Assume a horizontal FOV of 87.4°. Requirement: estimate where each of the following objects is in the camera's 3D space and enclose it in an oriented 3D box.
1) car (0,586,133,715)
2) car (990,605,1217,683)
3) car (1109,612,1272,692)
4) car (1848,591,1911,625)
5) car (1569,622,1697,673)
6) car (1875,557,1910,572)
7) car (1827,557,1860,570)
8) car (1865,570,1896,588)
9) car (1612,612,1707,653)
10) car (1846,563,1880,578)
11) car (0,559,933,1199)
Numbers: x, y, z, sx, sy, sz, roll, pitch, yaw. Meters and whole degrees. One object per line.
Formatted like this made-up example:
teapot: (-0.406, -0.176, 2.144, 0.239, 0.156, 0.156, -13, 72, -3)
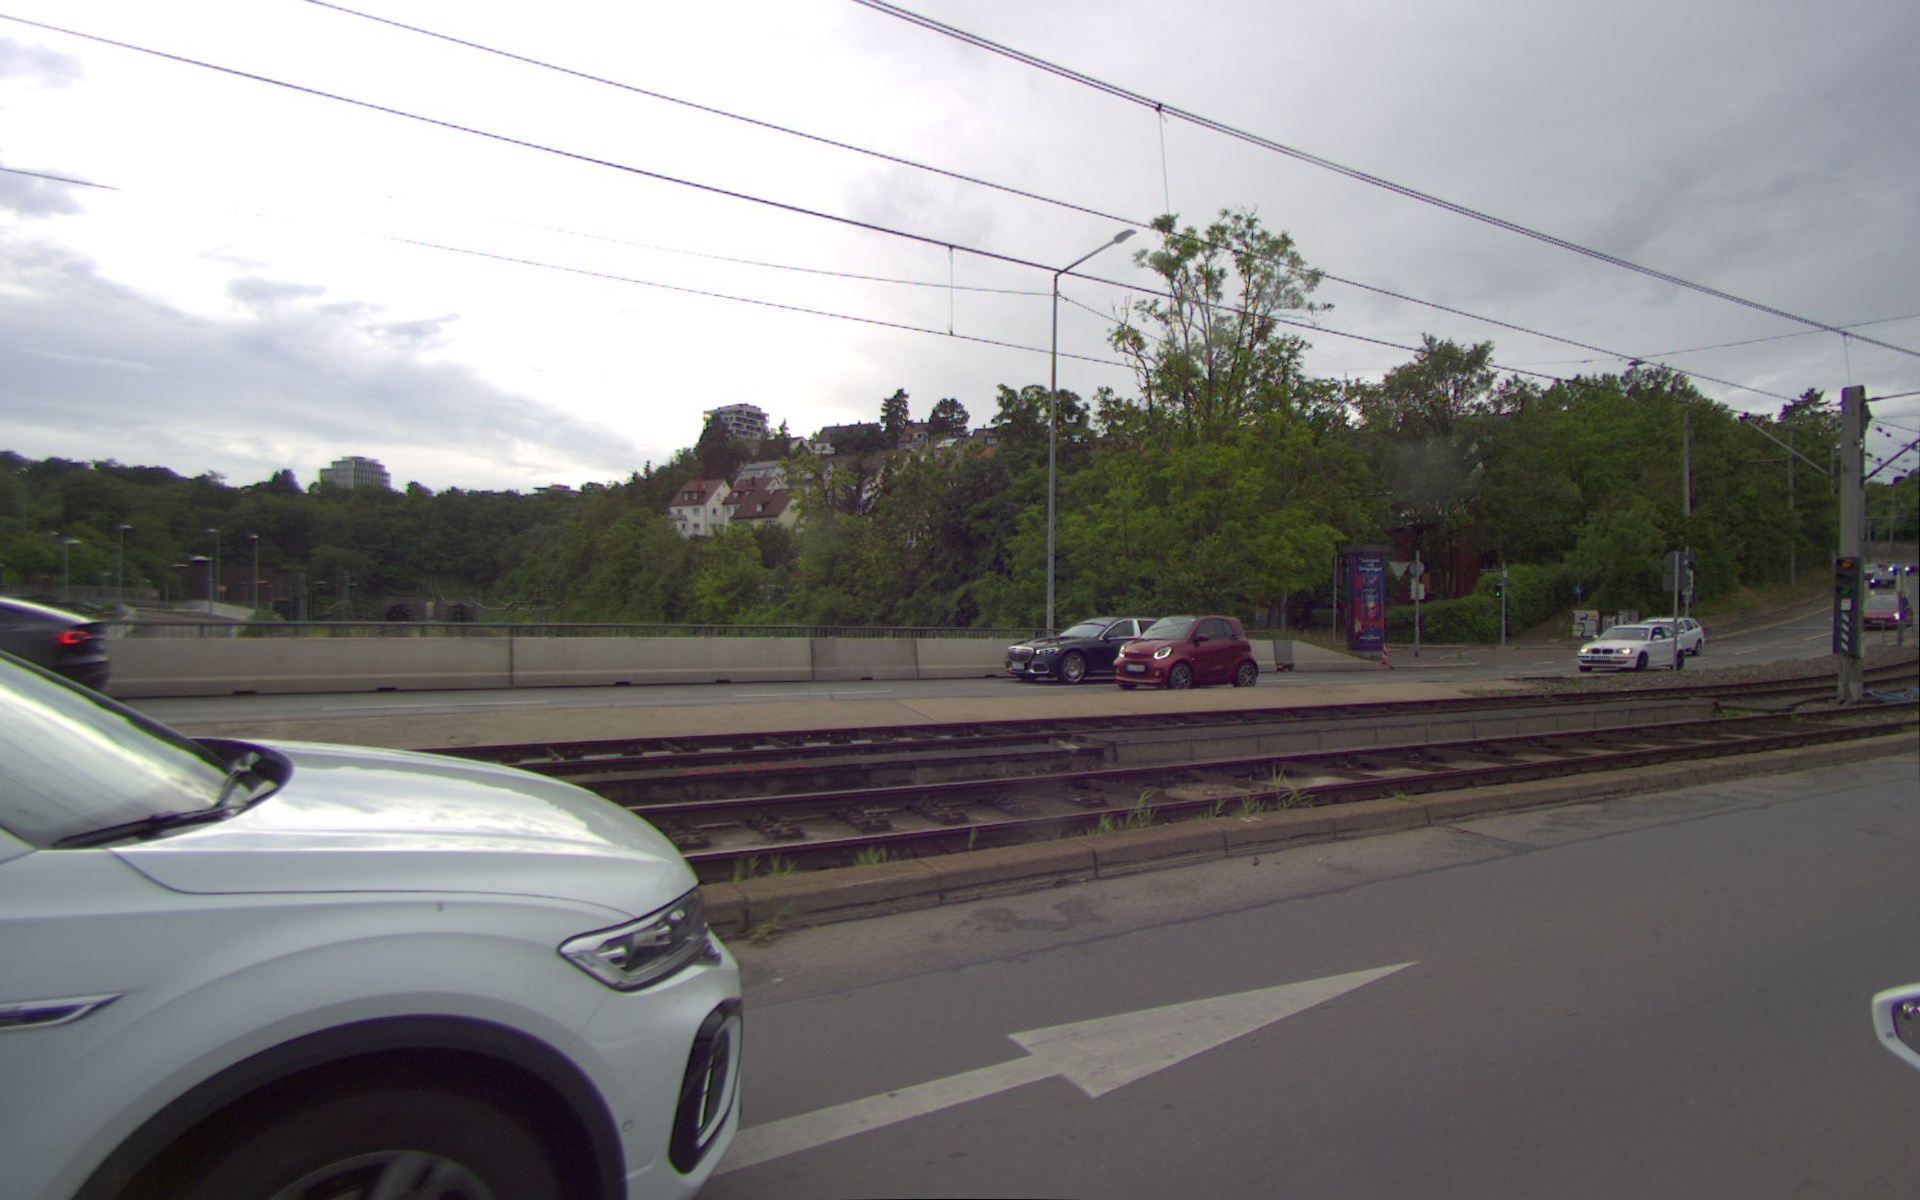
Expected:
car: (-13.584, 0.639, 12.655, 4.683, 1.618, 1.885, 1, -1, -34)
car: (3.369, 1.039, 23.203, 5.125, 1.618, 1.959, 3, -2, -31)
car: (4.668, 1.017, 20.344, 2.984, 1.513, 1.592, 1, -1, -32)
car: (46.680, 0.417, 50.976, 4.695, 1.618, 1.832, 0, -1, -41)
car: (20.798, 1.467, 30.988, 4.445, 1.455, 1.720, 2, -2, -34)
car: (99.203, -3.747, 106.911, 1.608, 1.403, 3.890, -3, 0, 26)
car: (111.441, -4.643, 126.731, 1.833, 1.458, 4.848, -3, 1, 27)
car: (80.163, -1.847, 87.504, 4.245, 1.478, 1.700, -2, 1, -44)
car: (27.841, 1.287, 39.930, 4.487, 1.535, 1.808, 2, -1, -37)
car: (93.296, -3.036, 103.818, 1.794, 1.398, 4.691, -2, 1, 33)
car: (-2.462, 0.682, 1.759, 4.488, 1.544, 1.862, 2, 0, -31)
